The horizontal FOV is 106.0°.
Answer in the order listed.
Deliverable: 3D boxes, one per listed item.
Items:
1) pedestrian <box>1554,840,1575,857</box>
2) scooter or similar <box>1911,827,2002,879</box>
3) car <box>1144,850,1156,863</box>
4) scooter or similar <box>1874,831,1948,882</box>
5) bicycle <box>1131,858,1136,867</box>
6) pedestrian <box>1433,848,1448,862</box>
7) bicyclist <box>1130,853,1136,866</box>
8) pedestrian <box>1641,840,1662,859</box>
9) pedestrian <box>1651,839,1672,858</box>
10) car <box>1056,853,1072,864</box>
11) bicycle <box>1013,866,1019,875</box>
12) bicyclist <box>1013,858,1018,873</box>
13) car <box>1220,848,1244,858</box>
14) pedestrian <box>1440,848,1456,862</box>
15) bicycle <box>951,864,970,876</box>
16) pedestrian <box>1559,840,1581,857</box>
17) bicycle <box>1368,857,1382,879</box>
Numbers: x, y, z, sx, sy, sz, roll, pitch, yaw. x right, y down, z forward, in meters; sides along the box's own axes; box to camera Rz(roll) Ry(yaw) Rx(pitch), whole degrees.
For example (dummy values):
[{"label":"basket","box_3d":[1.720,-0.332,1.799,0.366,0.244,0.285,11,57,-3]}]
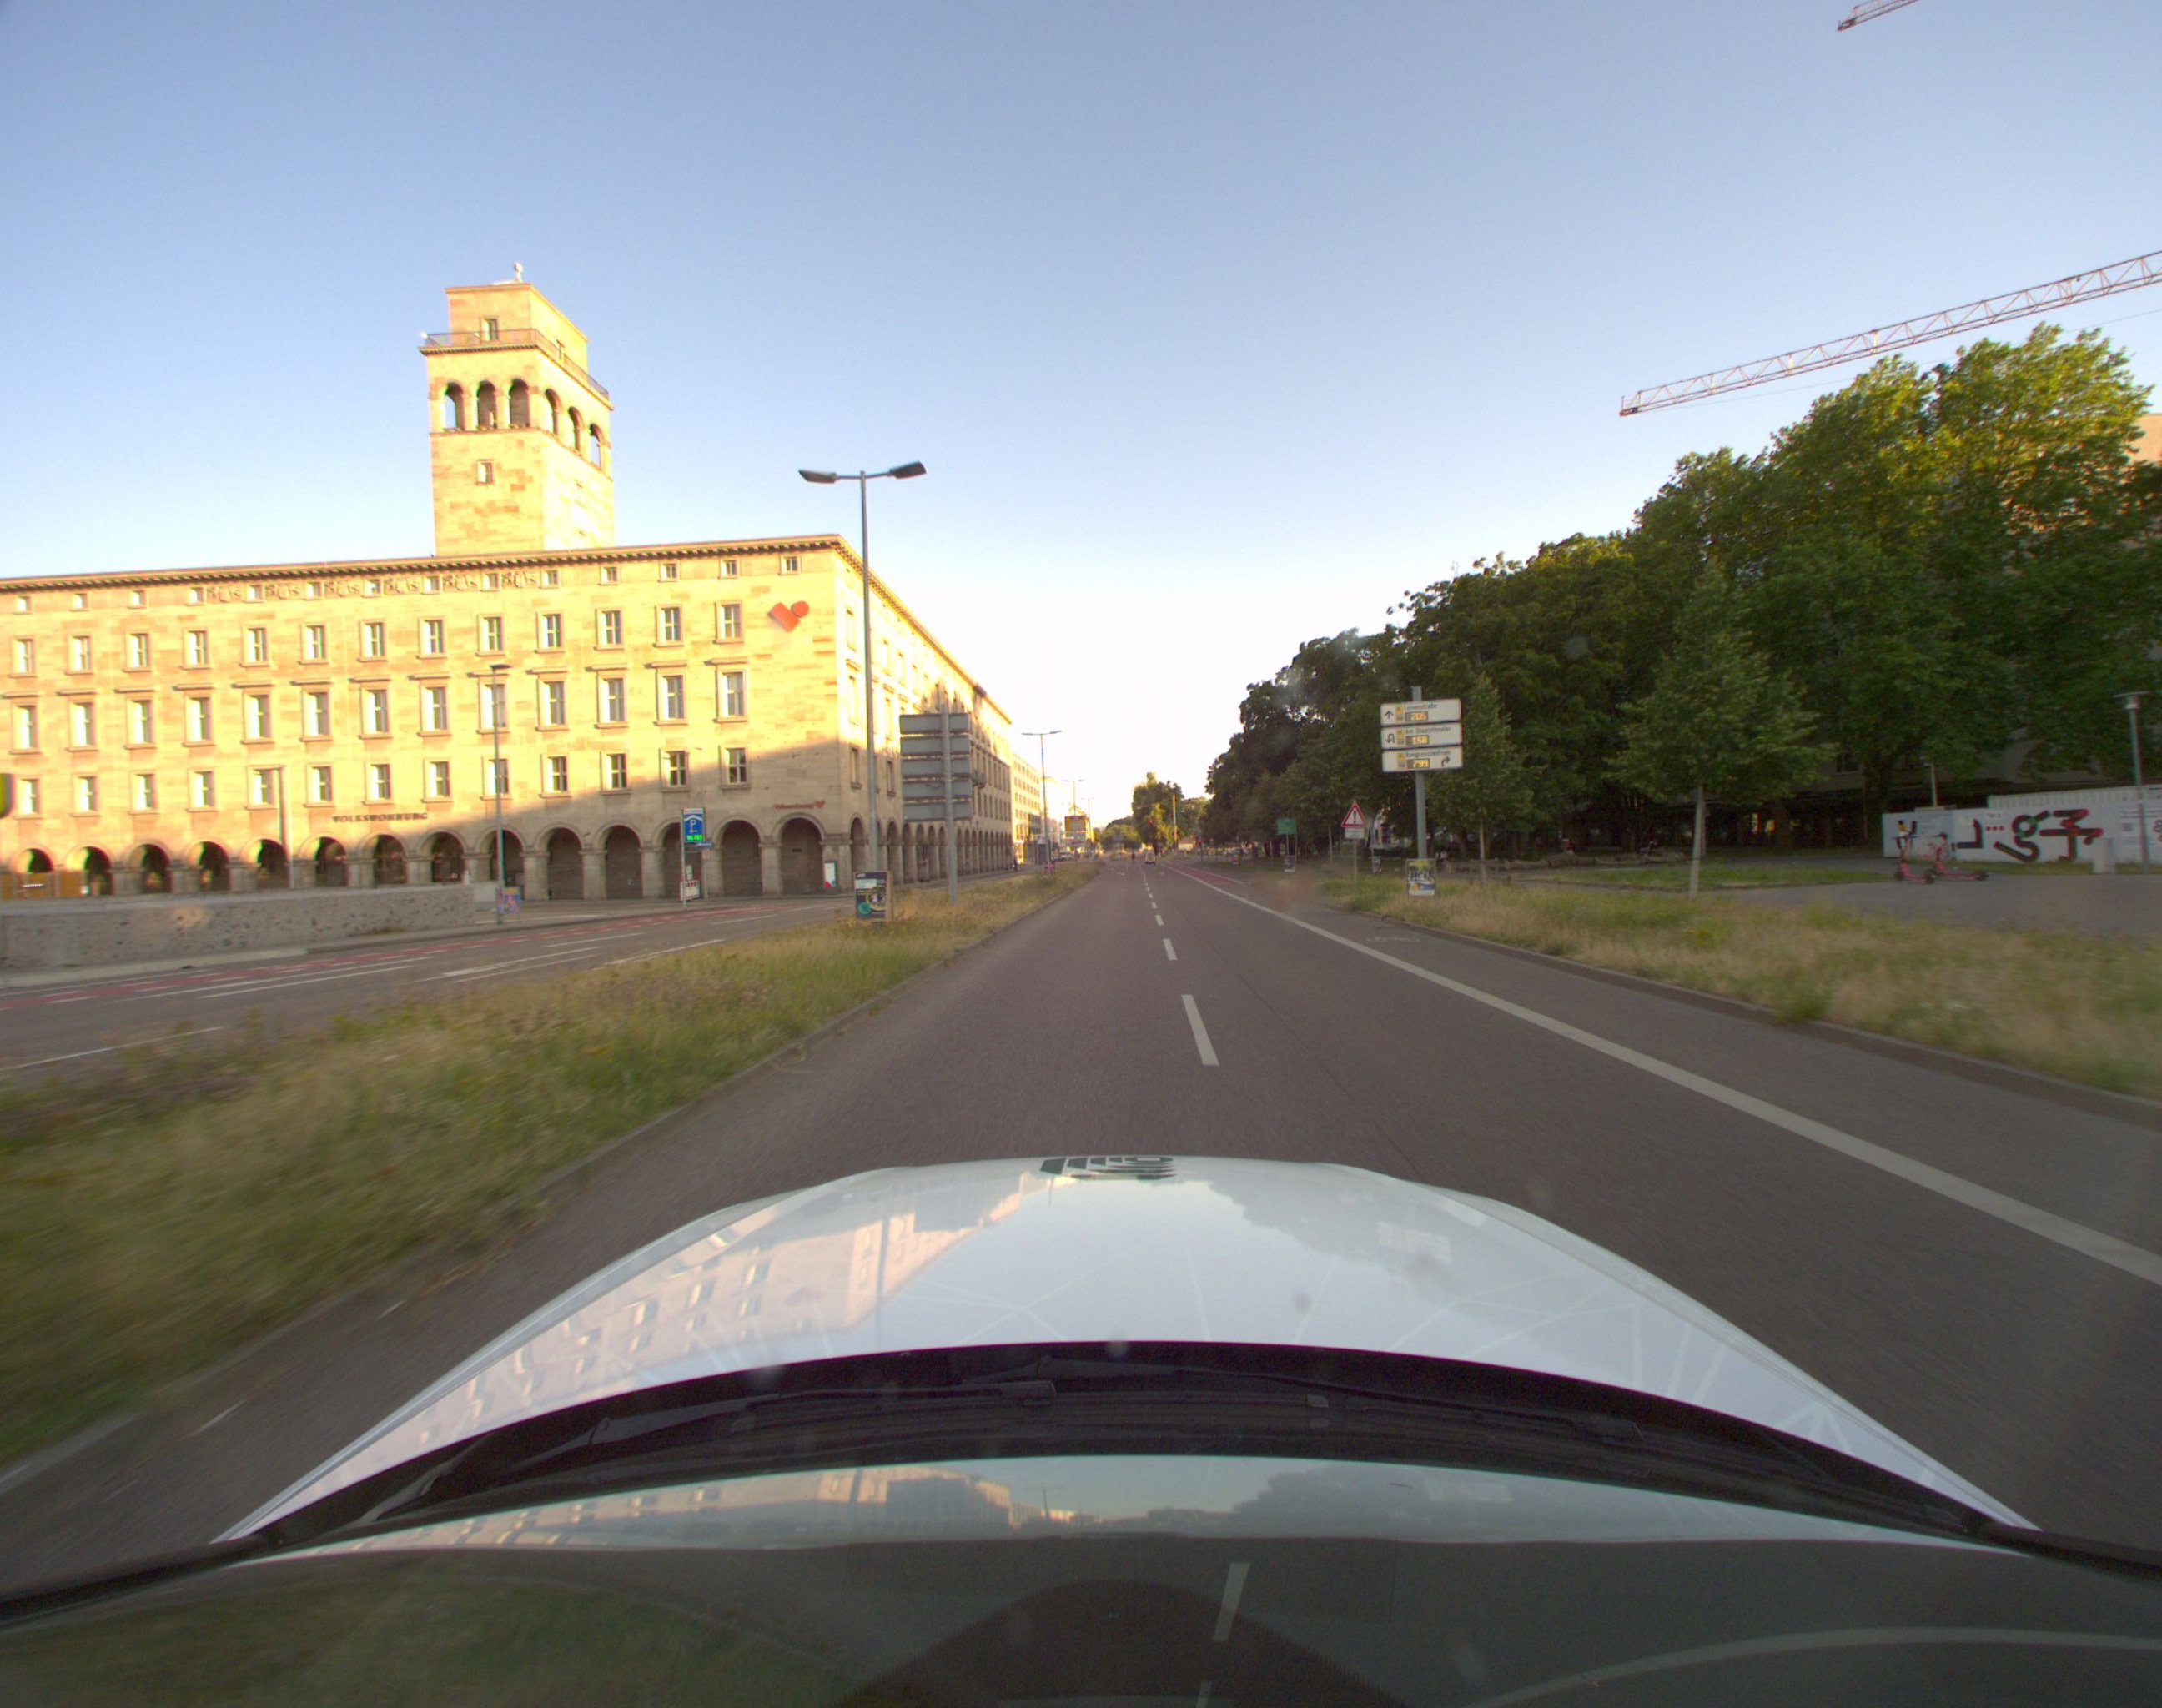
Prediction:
[{"label":"pedestrian","box_3d":[37.812,-0.432,63.708,1.126,1.260,0.727,-2,0,5]},{"label":"scooter or similar","box_3d":[22.223,-0.017,20.718,0.472,1.220,1.572,-5,0,-3]},{"label":"car","box_3d":[9.312,0.335,109.381,1.452,1.781,2.568,-2,0,6]},{"label":"scooter or similar","box_3d":[21.060,0.065,20.688,0.421,1.220,1.400,-5,0,4]},{"label":"bicycle","box_3d":[7.034,1.142,109.632,0.634,1.069,2.071,-1,0,3]},{"label":"pedestrian","box_3d":[23.194,0.085,52.554,0.681,0.884,0.589,-2,0,-22]},{"label":"bicyclist","box_3d":[7.007,0.715,109.752,0.625,1.693,0.749,-2,-1,2]},{"label":"pedestrian","box_3d":[37.258,-0.305,53.197,0.784,1.164,0.766,-2,-1,-3]},{"label":"pedestrian","box_3d":[37.299,-0.343,52.336,0.784,1.164,0.766,-2,-1,-3]},{"label":"car","box_3d":[-4.134,1.206,199.508,2.161,2.385,6.012,-3,-3,15]},{"label":"bicycle","box_3d":[-7.686,1.913,96.136,0.541,1.005,2.000,-2,1,-7]},{"label":"bicyclist","box_3d":[-7.733,1.374,96.269,0.536,1.693,0.747,-2,-1,-7]},{"label":"car","box_3d":[26.926,-0.221,145.236,3.967,1.574,2.003,-2,0,6]},{"label":"pedestrian","box_3d":[23.425,0.062,51.961,0.681,0.884,0.619,-2,0,-20]},{"label":"bicycle","box_3d":[-11.641,1.542,78.522,0.472,1.005,2.018,-3,0,39]},{"label":"pedestrian","box_3d":[37.658,-0.417,62.763,1.126,1.260,0.907,-2,0,5]},{"label":"bicycle","box_3d":[14.655,0.691,40.566,0.490,1.005,1.909,-5,-1,23]}]
